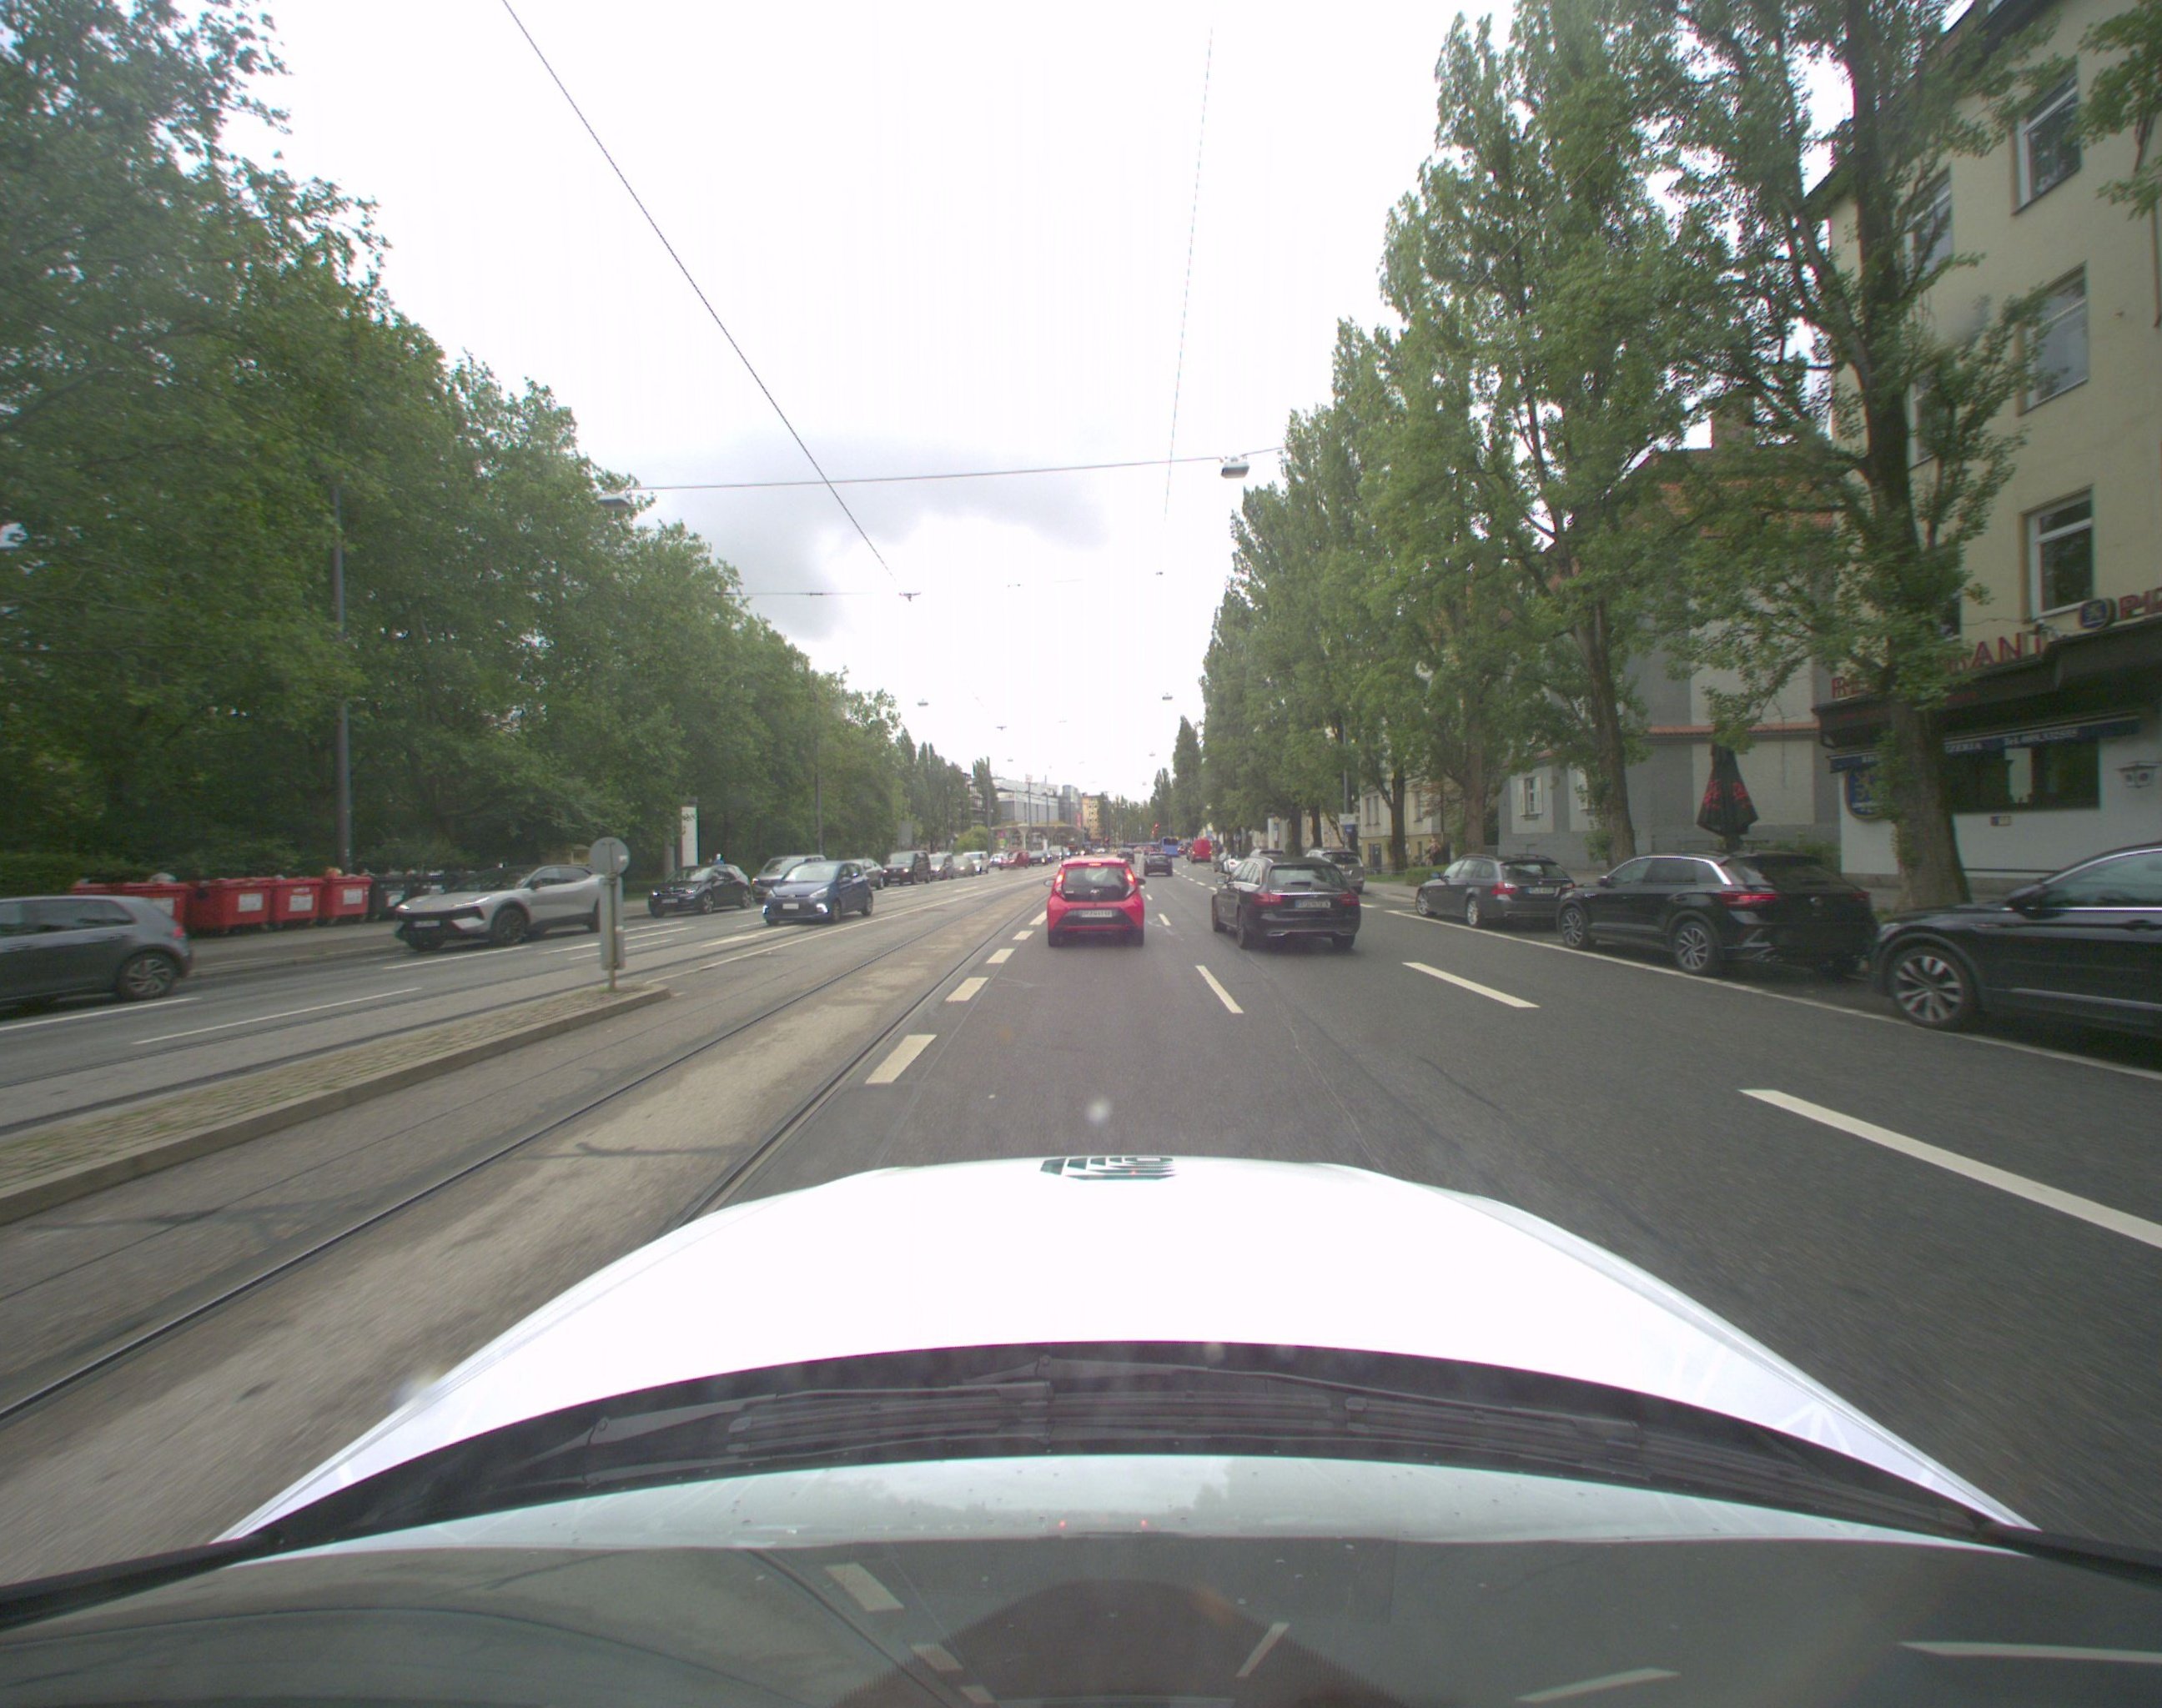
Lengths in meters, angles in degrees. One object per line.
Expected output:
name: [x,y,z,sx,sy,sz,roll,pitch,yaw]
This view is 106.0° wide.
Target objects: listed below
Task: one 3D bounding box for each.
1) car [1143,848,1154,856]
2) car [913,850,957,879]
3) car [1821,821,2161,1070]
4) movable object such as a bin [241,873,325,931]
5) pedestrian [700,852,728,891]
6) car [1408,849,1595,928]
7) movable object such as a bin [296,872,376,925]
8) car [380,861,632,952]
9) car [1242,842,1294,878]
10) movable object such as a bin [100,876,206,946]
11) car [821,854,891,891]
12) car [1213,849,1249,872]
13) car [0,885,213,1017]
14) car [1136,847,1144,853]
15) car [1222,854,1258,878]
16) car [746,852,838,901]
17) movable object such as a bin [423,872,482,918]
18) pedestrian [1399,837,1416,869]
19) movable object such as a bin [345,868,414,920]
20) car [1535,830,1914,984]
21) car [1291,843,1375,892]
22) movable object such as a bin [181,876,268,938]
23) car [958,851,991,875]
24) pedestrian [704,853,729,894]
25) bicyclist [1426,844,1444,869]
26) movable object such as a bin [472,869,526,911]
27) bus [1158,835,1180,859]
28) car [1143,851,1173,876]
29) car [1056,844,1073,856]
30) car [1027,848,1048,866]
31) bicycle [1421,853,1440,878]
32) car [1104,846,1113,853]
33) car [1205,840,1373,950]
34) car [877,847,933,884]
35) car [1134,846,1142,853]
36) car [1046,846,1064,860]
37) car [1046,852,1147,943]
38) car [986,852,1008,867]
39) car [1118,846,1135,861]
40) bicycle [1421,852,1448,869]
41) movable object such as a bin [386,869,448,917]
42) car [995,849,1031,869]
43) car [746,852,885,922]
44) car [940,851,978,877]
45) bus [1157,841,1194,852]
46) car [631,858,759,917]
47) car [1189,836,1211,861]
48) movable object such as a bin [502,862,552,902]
car: [12.138,-0.401,146.806,1.773,1.486,4.004,-1,0,4]
car: [-9.762,0.673,54.674,1.791,1.788,4.523,-3,0,4]
car: [7.830,0.567,5.495,1.714,1.612,4.473,-2,0,2]
movable object such as a bin: [-19.906,1.176,20.345,0.931,1.353,1.128,2,0,-1]
pedestrian: [-16.329,0.763,36.263,0.659,1.684,0.992,-1,2,12]
car: [8.547,0.620,17.053,1.792,1.398,4.384,-2,0,2]
movable object such as a bin: [-19.892,1.168,21.773,0.931,1.353,1.277,0,0,-1]
car: [-12.461,1.039,18.187,1.791,1.642,5.004,-2,0,4]
car: [9.884,0.305,43.386,1.792,1.742,4.703,-2,0,2]
movable object such as a bin: [-19.977,1.206,17.553,0.931,1.353,1.082,4,0,-1]
car: [-10.805,0.849,39.463,1.791,1.634,4.593,-2,0,4]
car: [10.686,0.450,58.437,1.793,1.508,4.450,-1,0,1]
car: [-13.007,1.150,9.212,1.814,1.381,4.102,-1,0,3]
car: [15.734,-1.041,217.414,1.794,1.596,4.007,-1,-3,7]
car: [10.417,0.753,53.428,1.791,1.508,4.004,-1,0,4]
car: [-11.500,0.838,32.745,1.791,1.779,4.477,-2,0,4]
movable object such as a bin: [-19.593,1.258,25.414,0.931,1.353,1.158,1,0,-1]
pedestrian: [17.593,-0.062,43.883,0.588,1.738,0.825,-1,2,3]
movable object such as a bin: [-19.839,1.118,23.061,0.931,1.353,1.082,3,0,-1]
car: [8.139,0.565,10.937,1.792,1.612,4.308,-2,0,2]
car: [9.070,0.449,29.693,1.792,1.612,4.550,-2,0,2]
movable object such as a bin: [-19.877,1.206,18.928,0.931,1.353,1.013,-1,0,-1]
car: [-8.820,0.728,67.888,1.792,1.861,4.634,-3,0,3]
pedestrian: [-16.023,0.852,35.802,0.659,1.789,0.821,0,0,12]
bicyclist: [19.346,0.138,44.536,0.657,1.314,0.706,-2,0,1]
movable object such as a bin: [-19.319,1.182,27.076,0.931,1.353,1.158,1,0,-1]
bus: [13.501,-1.206,125.737,2.893,3.395,10.818,-1,2,4]
car: [4.937,0.580,52.707,1.773,1.486,4.004,-1,0,4]
car: [-2.422,-0.649,120.159,1.790,1.665,4.527,-3,0,6]
car: [-4.651,0.300,87.796,1.792,1.788,4.521,-3,0,2]
bicycle: [15.176,0.488,35.363,0.353,0.988,1.229,-1,2,4]
car: [6.253,-0.950,183.455,1.773,1.486,4.004,-1,0,4]
car: [3.386,0.562,14.206,1.856,1.549,4.706,-2,1,2]
car: [-10.184,0.650,47.498,1.791,1.991,5.044,-2,0,4]
car: [14.713,-1.039,210.413,1.794,1.596,4.007,-1,-3,7]
car: [-3.412,-0.130,106.142,1.791,1.665,4.524,-3,0,4]
car: [0.283,0.693,14.744,1.623,1.440,3.377,0,0,1]
car: [-9.245,0.619,89.780,1.793,1.530,4.519,-3,0,1]
car: [4.891,-0.030,87.941,1.728,1.549,4.581,-2,0,3]
bicycle: [19.350,0.347,44.592,0.650,0.923,1.904,-2,0,2]
movable object such as a bin: [-19.724,1.146,24.207,0.931,1.353,1.082,1,0,-1]
car: [-6.544,0.476,78.772,1.785,1.788,4.539,-3,0,17]
car: [-6.507,0.757,20.552,1.791,1.522,4.359,-2,0,4]
car: [-9.147,0.704,61.309,1.791,1.788,4.523,-3,0,4]
bus: [27.839,-2.269,240.337,10.522,2.845,2.000,-1,2,-1]
car: [-12.370,1.000,26.457,1.791,1.667,4.359,-2,0,4]
car: [12.834,-0.631,88.351,1.985,2.574,4.685,-1,2,4]
movable object such as a bin: [-19.285,0.966,28.369,0.931,1.353,1.158,1,0,-1]
